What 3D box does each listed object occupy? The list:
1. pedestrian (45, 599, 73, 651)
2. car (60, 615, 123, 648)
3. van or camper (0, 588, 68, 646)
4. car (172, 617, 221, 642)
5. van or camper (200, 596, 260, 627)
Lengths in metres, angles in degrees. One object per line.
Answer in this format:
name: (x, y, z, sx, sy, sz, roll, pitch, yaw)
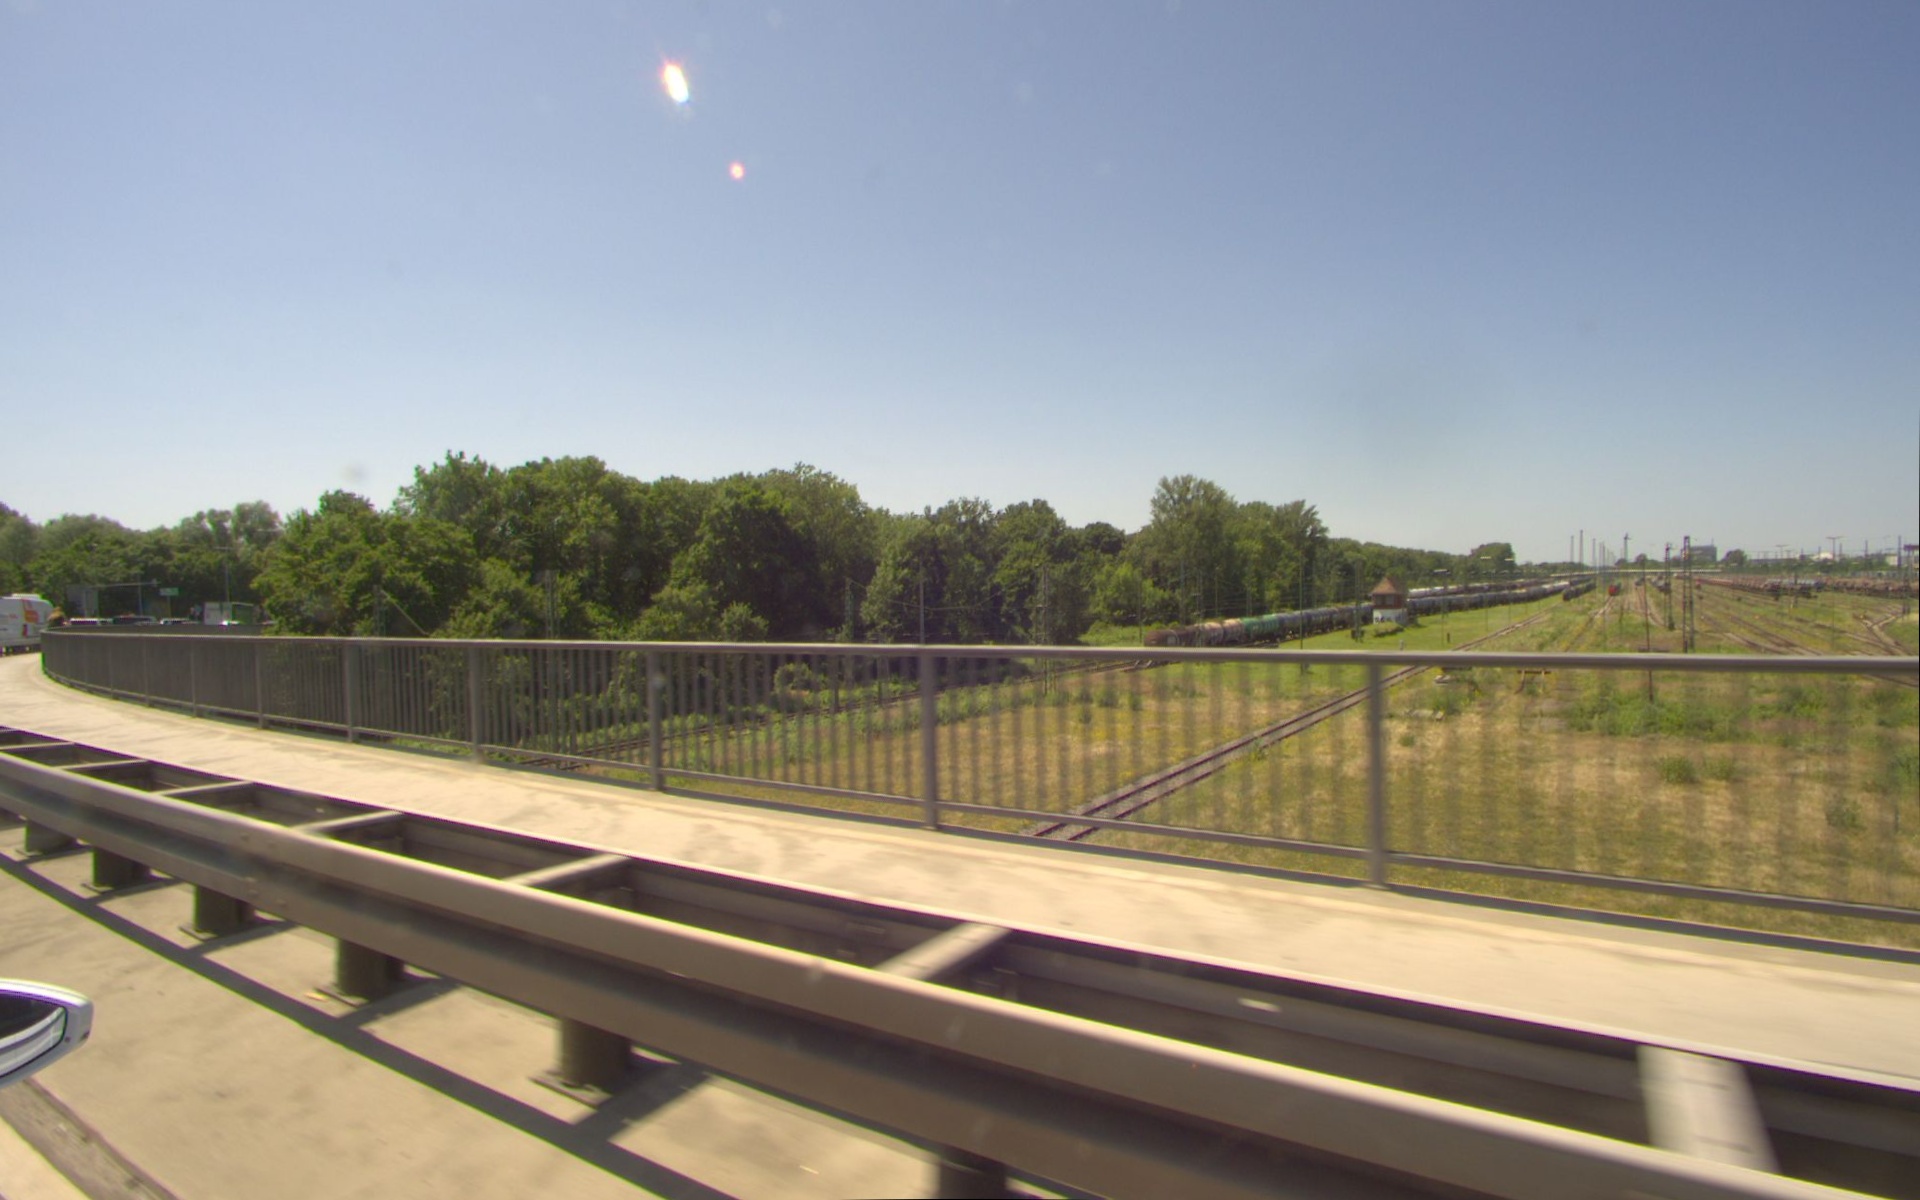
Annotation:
pedestrian: (-35.026, 0.972, 38.937, 0.730, 1.992, 0.729, 0, -1, -35)
car: (-51.275, 1.852, 59.196, 1.865, 1.873, 3.985, 0, -2, -26)
van or camper: (-46.661, 0.832, 49.860, 2.179, 2.747, 5.895, 0, -1, -30)
car: (-59.120, 2.276, 77.578, 1.862, 1.873, 3.991, 0, -2, -20)
van or camper: (-66.237, 1.097, 90.933, 2.448, 2.318, 4.961, 5, -6, -13)
